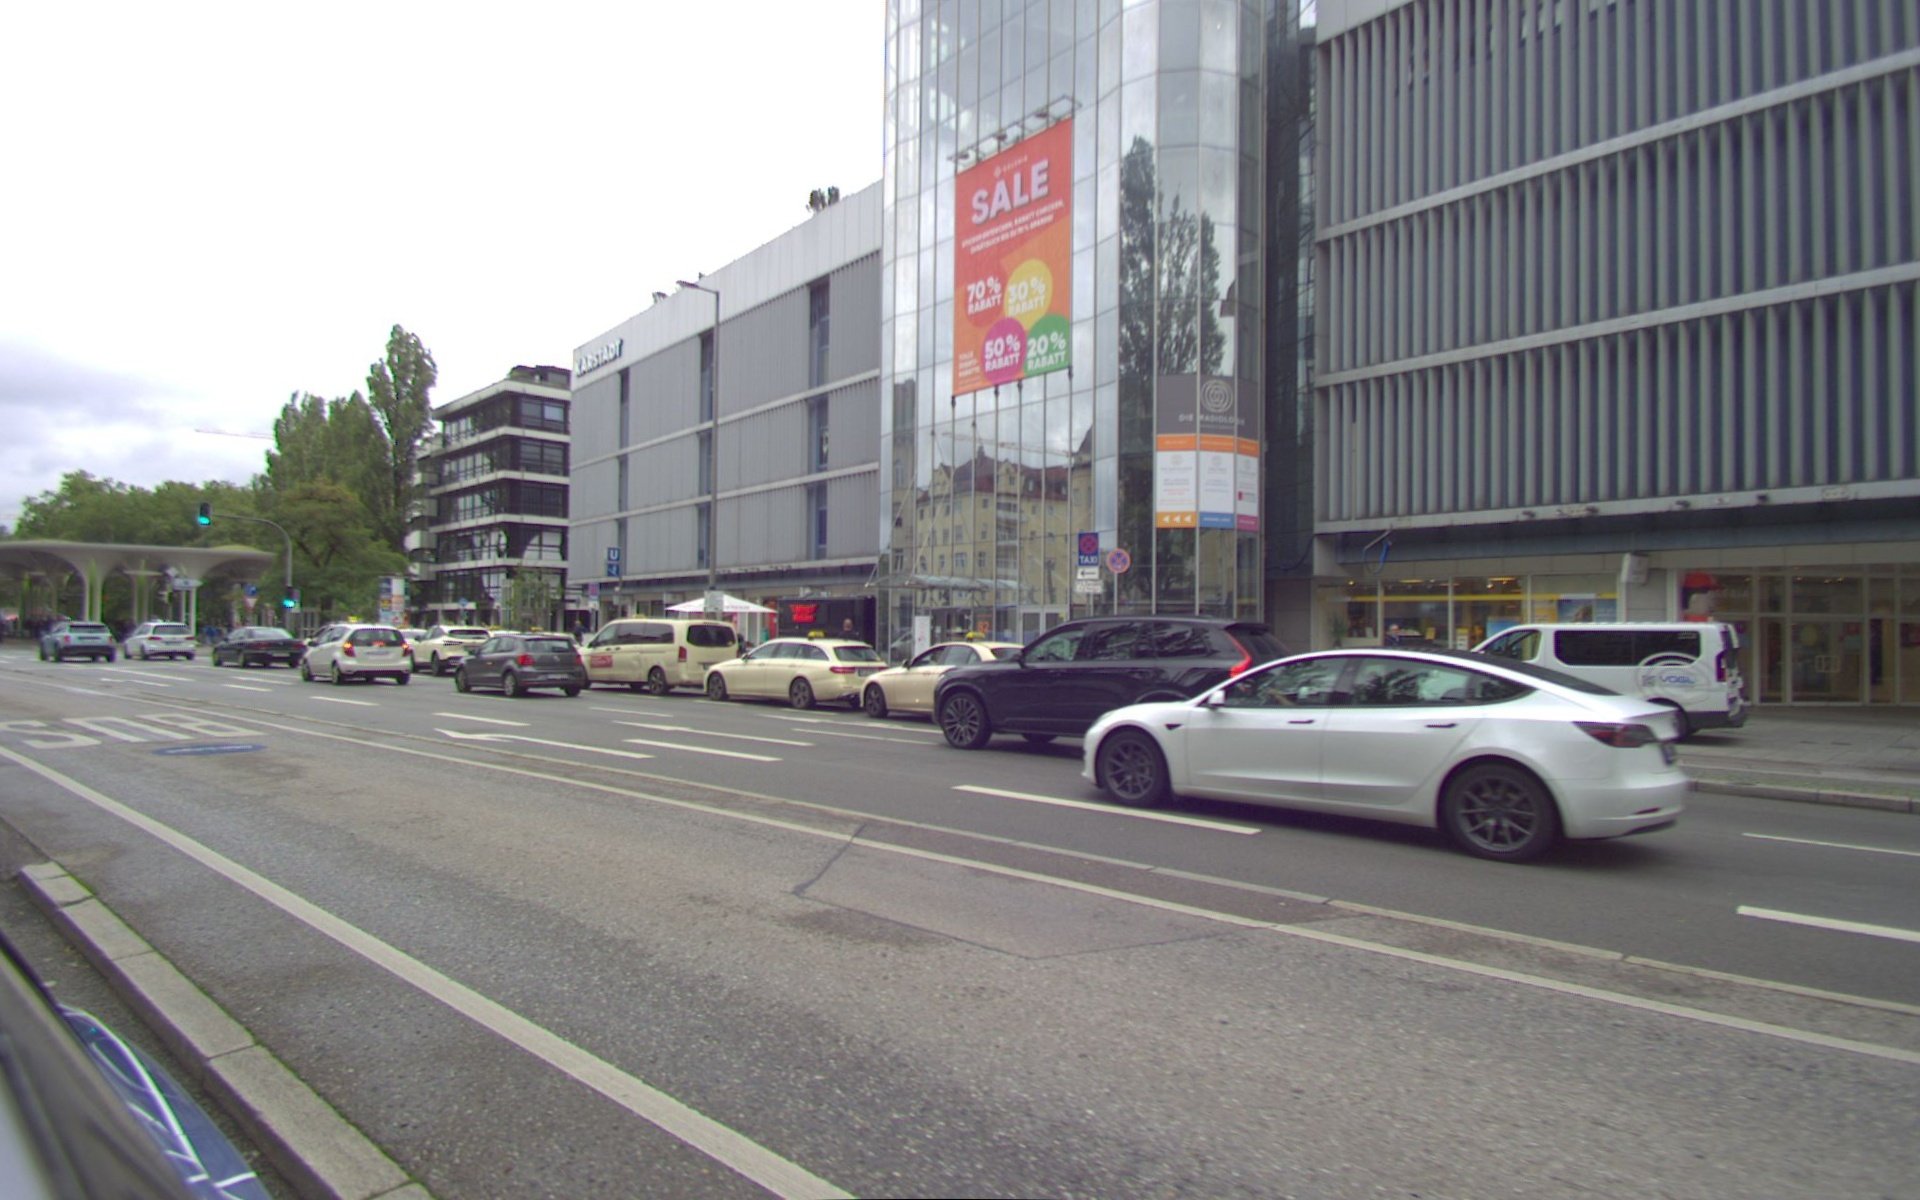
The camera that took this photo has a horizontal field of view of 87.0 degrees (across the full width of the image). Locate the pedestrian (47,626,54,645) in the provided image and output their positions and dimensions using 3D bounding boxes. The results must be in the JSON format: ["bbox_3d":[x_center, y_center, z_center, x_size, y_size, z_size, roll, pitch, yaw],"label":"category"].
[{"bbox_3d":[-66.051,2.567,73.478,0.270,1.387,0.299,-1,-3,34],"label":"pedestrian"}]

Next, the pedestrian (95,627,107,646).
[{"bbox_3d":[-63.501,2.692,74.791,0.591,1.348,0.543,-1,-3,36],"label":"pedestrian"}]

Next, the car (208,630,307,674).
[{"bbox_3d":[-24.874,1.800,35.752,4.684,1.420,1.711,-1,-3,40],"label":"car"}]

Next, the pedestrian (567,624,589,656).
[{"bbox_3d":[-18.834,1.962,49.846,0.722,1.557,0.900,2,-3,-41],"label":"pedestrian"}]

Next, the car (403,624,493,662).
[{"bbox_3d":[-21.859,1.809,43.188,3.994,1.579,1.888,-1,-3,38],"label":"car"}]

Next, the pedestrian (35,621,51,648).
[{"bbox_3d":[-63.901,2.437,70.490,0.656,1.865,0.790,2,-3,-34],"label":"pedestrian"}]

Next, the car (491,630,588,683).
[{"bbox_3d":[-14.172,1.852,33.992,1.750,1.628,4.005,3,-3,-42],"label":"car"}]

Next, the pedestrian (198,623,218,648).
[{"bbox_3d":[-53.370,2.536,71.833,0.979,1.791,0.851,-1,-3,37],"label":"pedestrian"}]

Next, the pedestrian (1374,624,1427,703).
[{"bbox_3d":[10.632,1.515,24.409,0.852,1.849,0.905,3,-3,-42],"label":"pedestrian"}]

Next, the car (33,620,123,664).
[{"bbox_3d":[-33.918,1.593,38.896,3.994,1.557,1.800,-1,-5,38],"label":"car"}]

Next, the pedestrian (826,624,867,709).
[{"bbox_3d":[-2.586,1.504,23.128,0.778,1.881,0.846,1,-2,2],"label":"pedestrian"}]

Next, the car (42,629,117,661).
[{"bbox_3d":[-45.322,2.306,52.062,4.939,1.558,1.941,-1,-3,37],"label":"car"}]

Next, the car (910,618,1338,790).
[{"bbox_3d":[1.863,1.118,12.612,4.980,1.729,1.997,-1,-3,41],"label":"car"}]

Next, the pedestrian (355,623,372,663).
[{"bbox_3d":[-26.426,1.882,44.831,0.428,1.742,0.519,0,-1,36],"label":"pedestrian"}]

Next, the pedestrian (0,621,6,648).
[{"bbox_3d":[-64.494,2.308,67.782,0.786,1.762,0.703,-1,-3,36],"label":"pedestrian"}]

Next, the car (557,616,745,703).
[{"bbox_3d":[-8.007,1.459,25.950,5.316,2.029,1.974,-1,-3,39],"label":"car"}]

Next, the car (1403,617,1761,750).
[{"bbox_3d":[10.893,1.366,18.082,1.970,2.029,5.116,3,-3,-43],"label":"car"}]

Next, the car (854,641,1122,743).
[{"bbox_3d":[0.312,1.522,17.690,1.833,1.480,4.990,5,-4,-39],"label":"car"}]

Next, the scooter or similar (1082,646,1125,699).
[{"bbox_3d":[3.407,1.714,24.077,0.993,1.233,0.252,-1,-2,30],"label":"scooter or similar"}]

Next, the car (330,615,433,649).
[{"bbox_3d":[-26.464,1.465,46.310,4.269,1.522,1.846,0,-2,22],"label":"car"}]

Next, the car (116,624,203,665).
[{"bbox_3d":[-33.711,1.844,42.591,4.285,1.612,1.974,-1,-3,39],"label":"car"}]

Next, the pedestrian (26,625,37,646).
[{"bbox_3d":[-67.064,2.566,73.068,0.419,1.514,0.491,2,-2,-28],"label":"pedestrian"}]

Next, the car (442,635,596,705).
[{"bbox_3d":[-10.455,1.599,23.887,3.998,1.477,1.765,-1,-3,41],"label":"car"}]

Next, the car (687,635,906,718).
[{"bbox_3d":[-3.691,1.592,22.209,5.083,1.564,1.957,-1,-3,41],"label":"car"}]

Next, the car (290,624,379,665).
[{"bbox_3d":[-26.135,1.846,42.247,4.468,1.624,1.572,-1,-3,36],"label":"car"}]

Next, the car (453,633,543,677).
[{"bbox_3d":[-17.274,2.017,37.756,4.002,1.548,1.732,-1,-3,44],"label":"car"}]

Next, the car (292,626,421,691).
[{"bbox_3d":[-16.397,1.536,27.435,4.000,1.602,1.932,-1,-3,43],"label":"car"}]

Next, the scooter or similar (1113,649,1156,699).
[{"bbox_3d":[4.264,1.803,24.734,0.991,1.182,0.253,0,-2,23],"label":"scooter or similar"}]

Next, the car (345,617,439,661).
[{"bbox_3d":[-21.540,1.465,38.296,1.923,1.552,4.851,2,-3,-44],"label":"car"}]

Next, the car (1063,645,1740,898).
[{"bbox_3d":[3.258,1.105,8.166,4.689,1.405,1.780,-1,-3,42],"label":"car"}]

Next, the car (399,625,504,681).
[{"bbox_3d":[-16.752,1.728,33.260,1.863,1.711,4.387,4,-4,-43],"label":"car"}]
